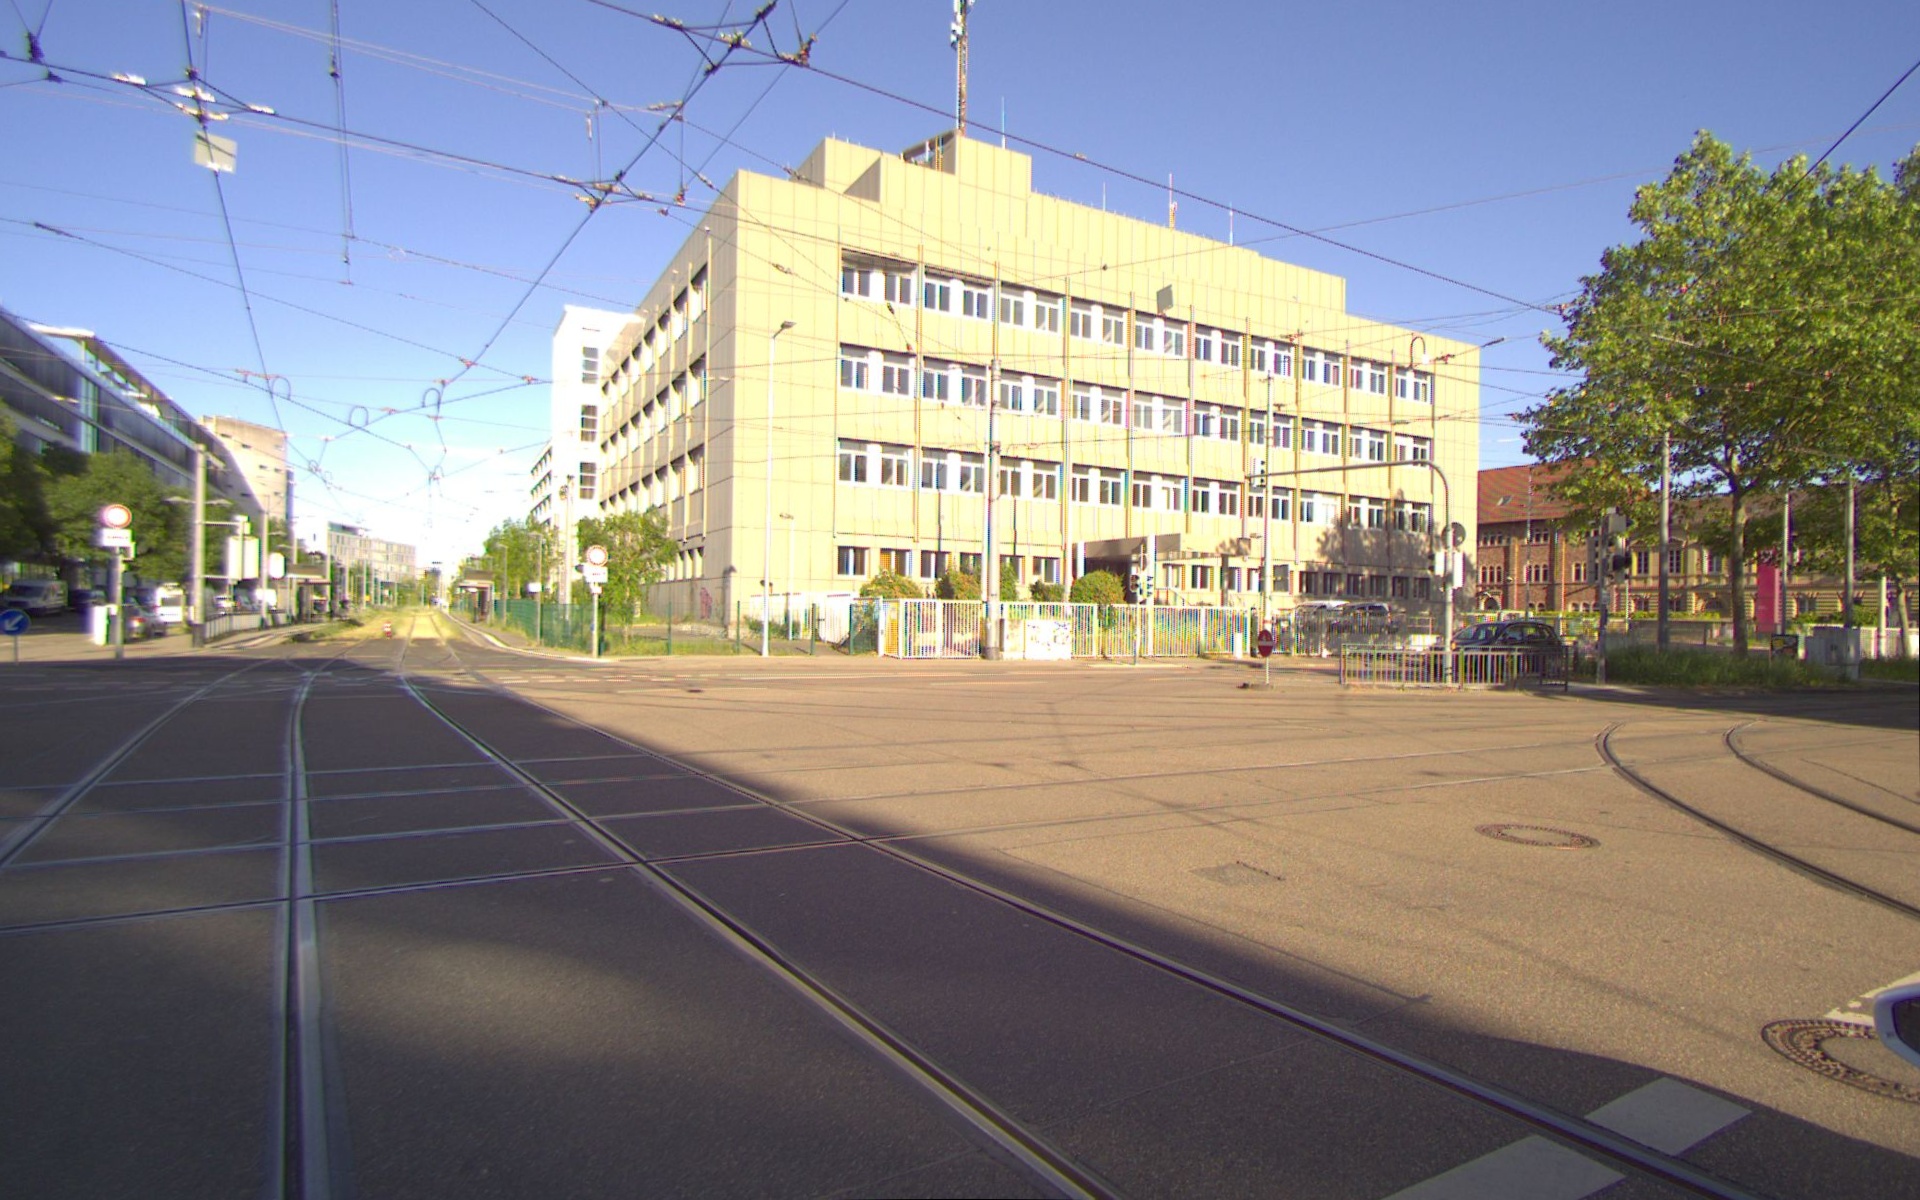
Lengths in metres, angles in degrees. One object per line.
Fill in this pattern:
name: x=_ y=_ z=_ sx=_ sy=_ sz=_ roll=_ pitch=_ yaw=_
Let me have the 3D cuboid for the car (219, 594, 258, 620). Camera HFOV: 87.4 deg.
car: x=-47.343 y=0.456 z=65.963 sx=1.734 sy=1.579 sz=3.917 roll=2 pitch=-1 yaw=-31

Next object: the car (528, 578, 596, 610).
car: x=-26.274 y=-0.360 z=66.261 sx=3.952 sy=2.040 sz=1.984 roll=1 pitch=-1 yaw=-30

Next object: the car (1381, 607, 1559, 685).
car: x=13.918 y=1.223 z=27.428 sx=4.360 sy=1.973 sz=1.989 roll=1 pitch=0 yaw=-23

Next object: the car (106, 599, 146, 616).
car: x=-69.399 y=0.639 z=83.641 sx=1.978 sy=1.364 sz=3.966 roll=2 pitch=-1 yaw=-31

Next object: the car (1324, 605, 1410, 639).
car: x=25.472 y=1.362 z=63.003 sx=1.980 sy=2.040 sz=4.709 roll=1 pitch=-1 yaw=-35

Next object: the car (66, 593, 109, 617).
car: x=-63.319 y=0.389 z=72.942 sx=1.716 sy=1.675 sz=3.767 roll=2 pitch=-1 yaw=-31

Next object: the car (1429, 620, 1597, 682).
car: x=15.913 y=1.435 z=28.867 sx=4.694 sy=1.638 sz=1.986 roll=1 pitch=-1 yaw=-27

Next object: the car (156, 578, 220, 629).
car: x=-41.375 y=0.199 z=53.949 sx=2.158 sy=2.539 sz=4.363 roll=2 pitch=-1 yaw=-31

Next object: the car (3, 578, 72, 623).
car: x=-58.890 y=0.031 z=64.237 sx=2.207 sy=2.690 sz=5.086 roll=2 pitch=-1 yaw=-31

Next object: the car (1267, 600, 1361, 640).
car: x=18.942 y=1.080 z=53.722 sx=4.660 sy=2.040 sz=1.988 roll=1 pitch=-1 yaw=-25

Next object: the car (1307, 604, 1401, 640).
car: x=19.995 y=1.114 z=50.957 sx=4.317 sy=1.726 sz=1.988 roll=1 pitch=-1 yaw=-25

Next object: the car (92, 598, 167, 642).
car: x=-34.745 y=0.835 z=42.122 sx=2.088 sy=1.720 sz=3.931 roll=2 pitch=-1 yaw=-35
